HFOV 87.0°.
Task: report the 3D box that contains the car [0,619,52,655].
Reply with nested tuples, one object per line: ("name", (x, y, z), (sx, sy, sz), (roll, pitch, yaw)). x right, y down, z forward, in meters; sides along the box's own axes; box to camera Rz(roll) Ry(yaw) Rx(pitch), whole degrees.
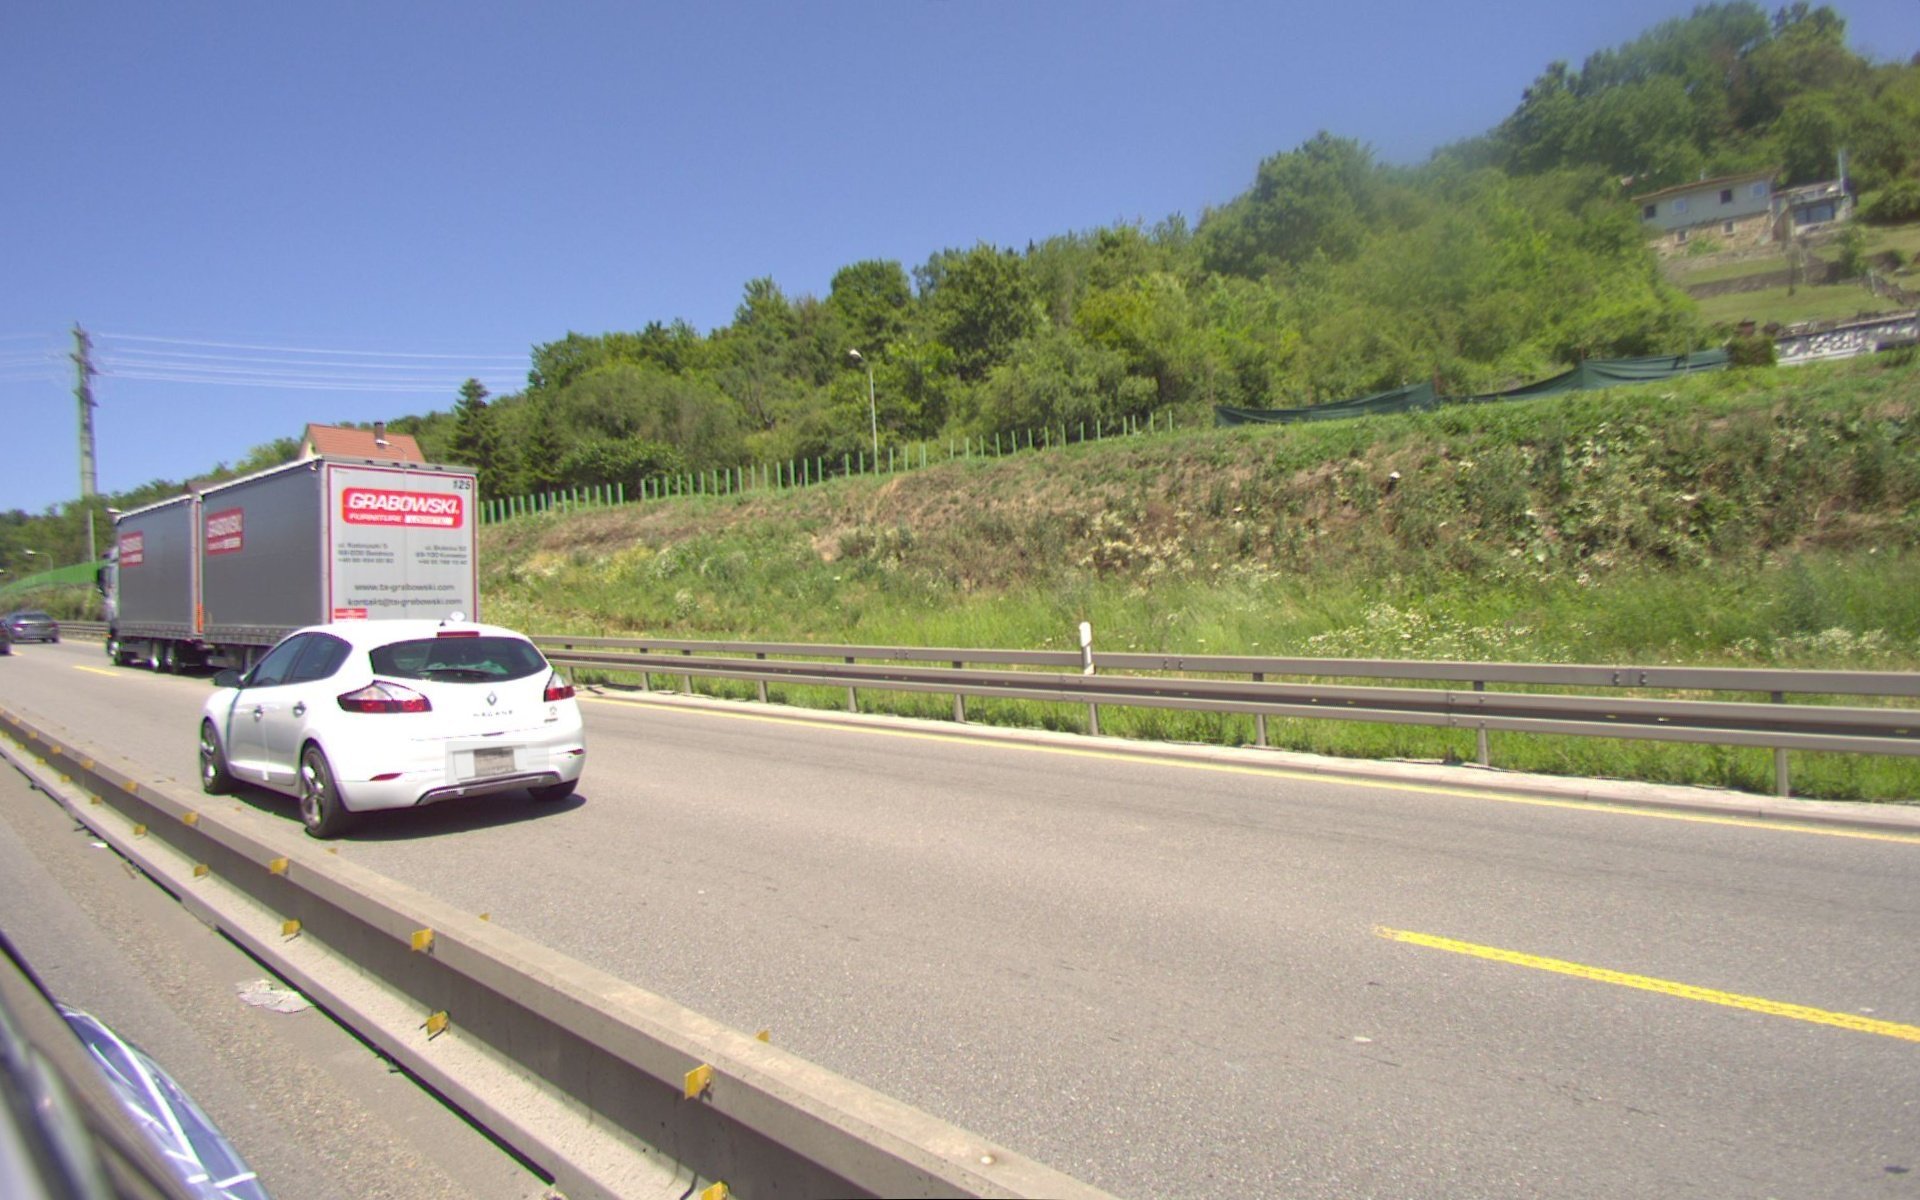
("car", (-44.714, 1.723, 47.951), (5.299, 1.519, 1.972), (0, 0, 42))

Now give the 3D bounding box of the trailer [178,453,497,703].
("trailer", (-12.721, -0.304, 20.233), (8.700, 4.019, 2.899), (-1, 0, 41))

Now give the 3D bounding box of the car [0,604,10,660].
("car", (-34.961, 1.147, 35.613), (4.499, 1.904, 1.830), (-2, -1, 41))

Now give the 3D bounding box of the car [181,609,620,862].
("car", (-4.566, 0.845, 8.005), (3.998, 1.475, 1.783), (-1, -1, 41))

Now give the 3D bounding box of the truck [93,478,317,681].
("truck", (-19.992, -0.387, 26.422), (10.380, 4.430, 2.593), (-1, 0, 41))

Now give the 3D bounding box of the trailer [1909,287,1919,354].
("trailer", (25.852, -7.257, 25.095), (3.026, 1.527, 1.888), (0, 0, 31))
